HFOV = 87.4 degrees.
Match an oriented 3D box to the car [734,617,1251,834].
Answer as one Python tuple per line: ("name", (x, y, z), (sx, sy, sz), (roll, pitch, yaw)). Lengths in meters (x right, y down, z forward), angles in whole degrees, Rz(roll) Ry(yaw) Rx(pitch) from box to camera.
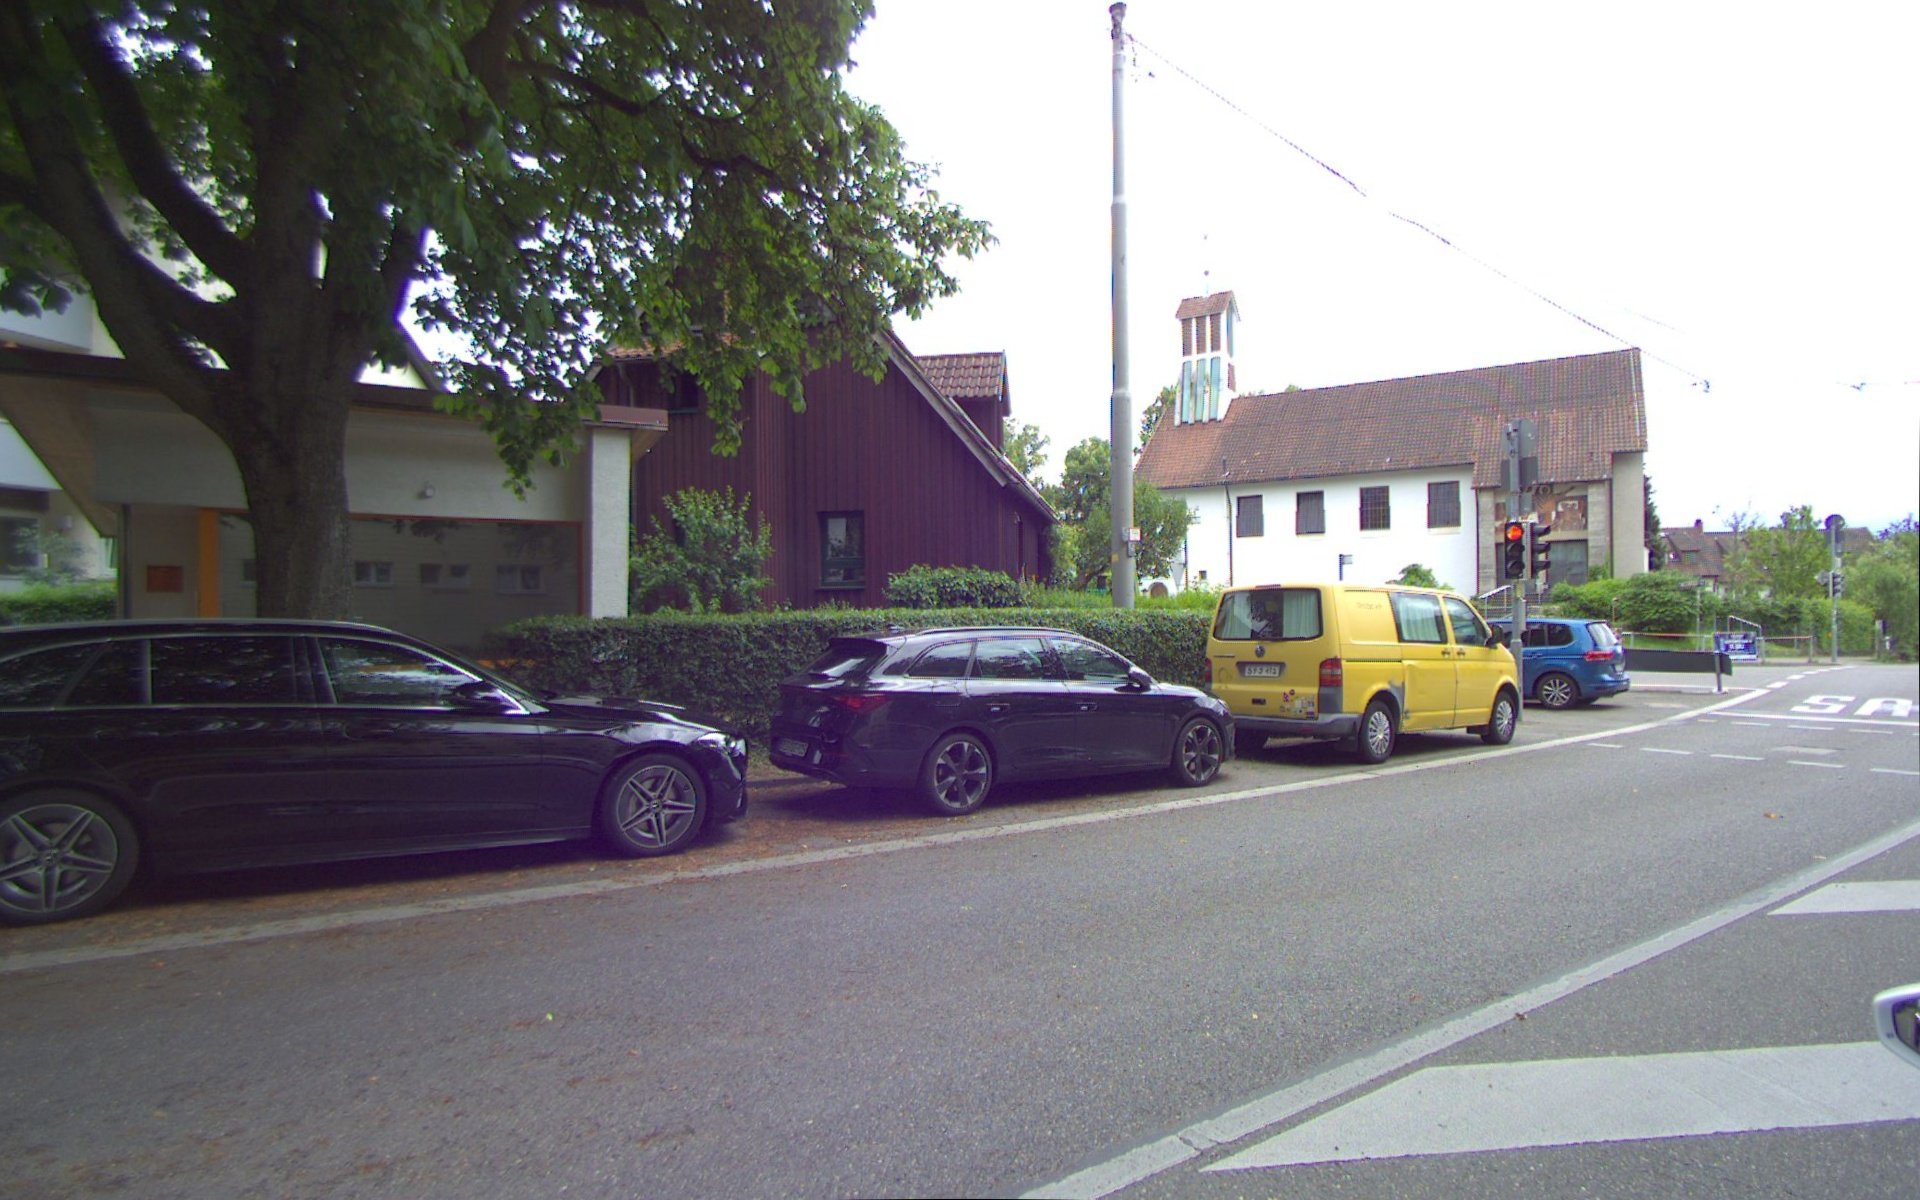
("car", (0.429, 0.928, 8.945), (4.495, 1.505, 1.680), (1, -2, -34))

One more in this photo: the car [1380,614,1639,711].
("car", (10.308, 1.143, 19.024), (1.807, 1.632, 3.947), (2, -3, -45))

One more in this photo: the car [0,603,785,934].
("car", (-3.602, 0.825, 6.282), (4.562, 1.520, 1.984), (1, -2, -31))

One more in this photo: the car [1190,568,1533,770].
("car", (5.018, 0.757, 12.293), (4.524, 2.040, 1.870), (1, -2, -38))
